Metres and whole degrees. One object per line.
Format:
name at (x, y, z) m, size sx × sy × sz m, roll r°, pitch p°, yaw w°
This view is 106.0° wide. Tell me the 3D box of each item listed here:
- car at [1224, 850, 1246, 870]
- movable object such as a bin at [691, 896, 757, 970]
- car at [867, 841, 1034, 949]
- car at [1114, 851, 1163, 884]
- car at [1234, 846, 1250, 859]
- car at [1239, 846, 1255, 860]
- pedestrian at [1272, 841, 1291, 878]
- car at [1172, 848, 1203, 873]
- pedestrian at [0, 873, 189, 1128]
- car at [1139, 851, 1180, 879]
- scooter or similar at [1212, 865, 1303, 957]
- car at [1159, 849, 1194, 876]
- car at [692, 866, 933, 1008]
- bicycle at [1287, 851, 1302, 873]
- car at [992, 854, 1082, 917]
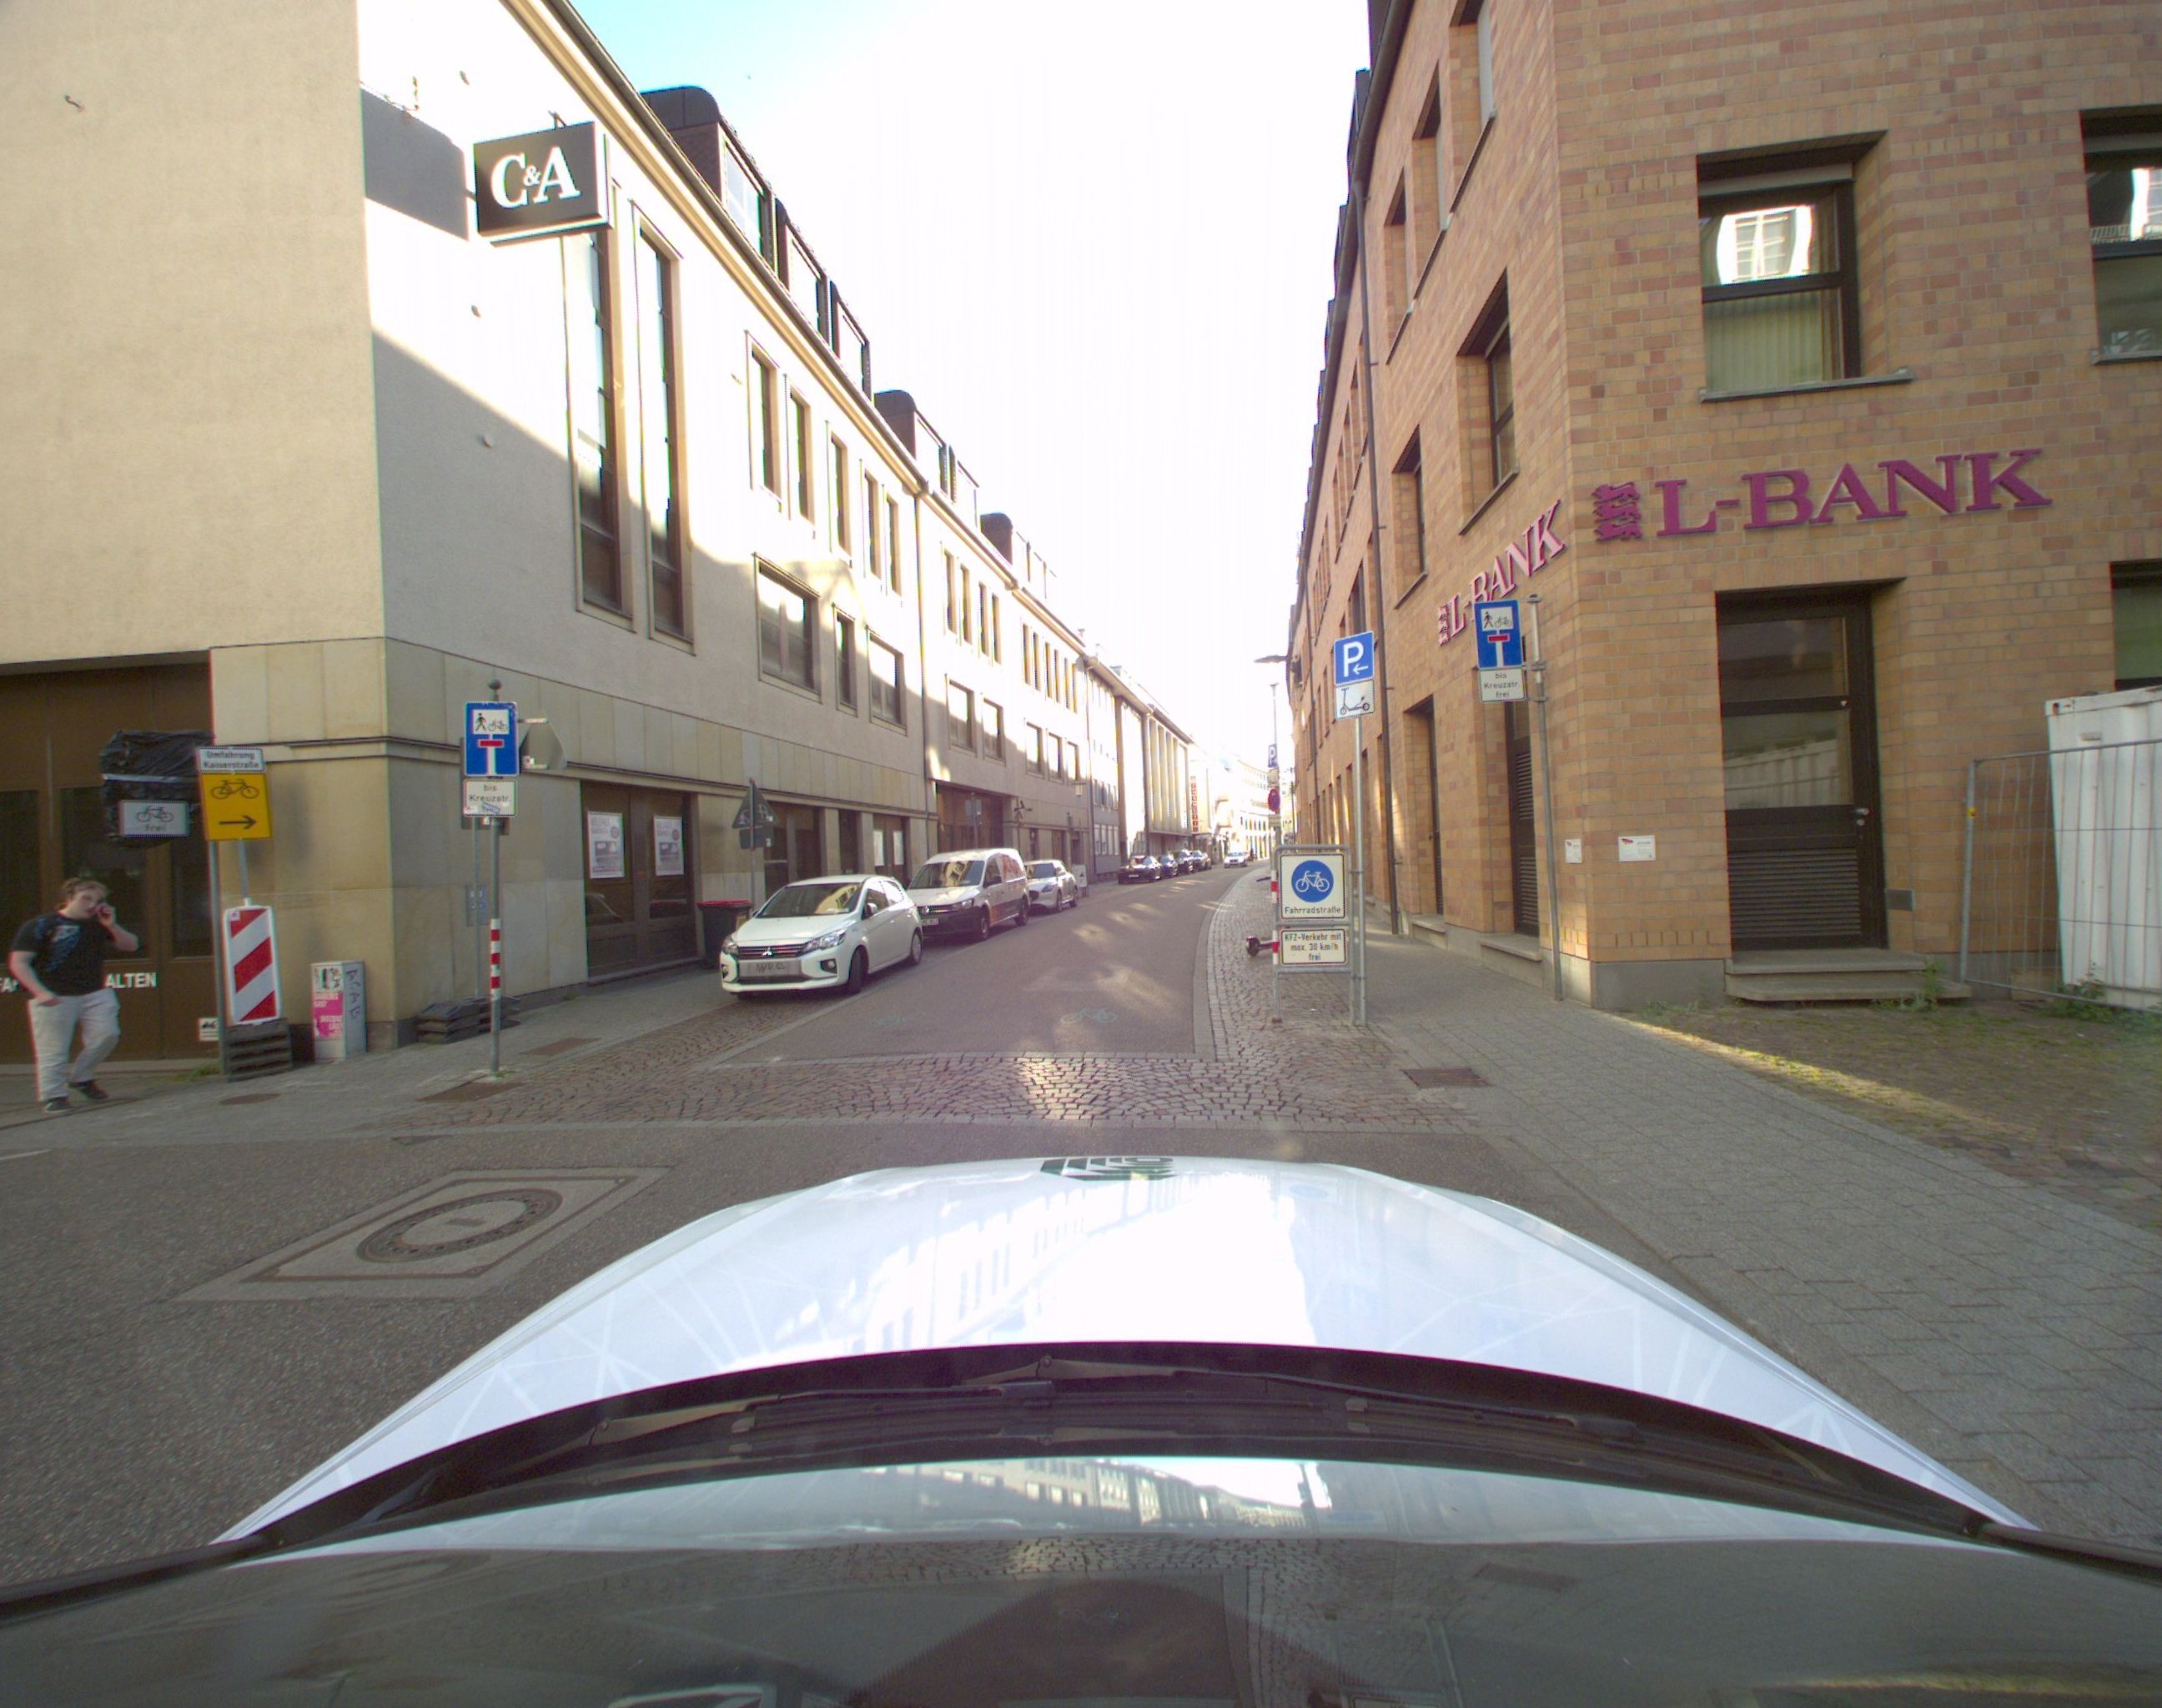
car at (13.386, 0.508, 70.559) m, size 1.703 × 1.517 × 4.174 m, roll -3°, pitch 0°, yaw 12°
movable object such as a bin at (-5.544, 1.214, 12.664) m, size 0.732 × 1.101 × 0.592 m, roll 0°, pitch -1°, yaw 7°
car at (-2.543, 0.746, 17.293) m, size 1.887 × 1.857 × 4.747 m, roll -4°, pitch 0°, yaw 10°
car at (3.176, 0.681, 43.782) m, size 1.877 × 1.530 × 4.745 m, roll -3°, pitch 0°, yaw 12°
car at (21.230, -0.227, 107.170) m, size 1.723 × 1.606 × 3.548 m, roll -1°, pitch 0°, yaw 17°
car at (19.350, -0.146, 95.075) m, size 1.628 × 1.517 × 4.175 m, roll -3°, pitch 0°, yaw 13°
pedestrian at (9.651, 0.270, 39.267) m, size 0.755 × 1.716 × 0.824 m, roll -4°, pitch -1°, yaw 12°
car at (8.295, 0.468, 63.208) m, size 1.877 × 1.742 × 4.406 m, roll -3°, pitch 0°, yaw 13°
pedestrian at (-7.938, 1.111, 6.456) m, size 0.858 × 1.854 × 0.714 m, roll -4°, pitch -2°, yaw -6°
car at (4.884, 0.665, 50.145) m, size 1.877 × 1.530 × 4.355 m, roll -3°, pitch 0°, yaw 12°
scooter or similar at (2.642, 0.816, 12.108) m, size 1.426 × 1.235 × 0.532 m, roll -2°, pitch 1°, yaw -40°
car at (6.589, 0.550, 55.773) m, size 1.877 × 1.675 × 4.569 m, roll -3°, pitch 0°, yaw 12°
car at (-3.496, 1.001, 11.420) m, size 1.728 × 1.492 × 3.805 m, roll -4°, pitch 0°, yaw 5°
bicycle at (11.549, 0.428, 44.141) m, size 0.546 × 1.103 × 1.988 m, roll -6°, pitch -1°, yaw 10°
car at (-1.180, 0.841, 23.555) m, size 1.659 × 1.522 × 3.786 m, roll -5°, pitch 0°, yaw 10°
